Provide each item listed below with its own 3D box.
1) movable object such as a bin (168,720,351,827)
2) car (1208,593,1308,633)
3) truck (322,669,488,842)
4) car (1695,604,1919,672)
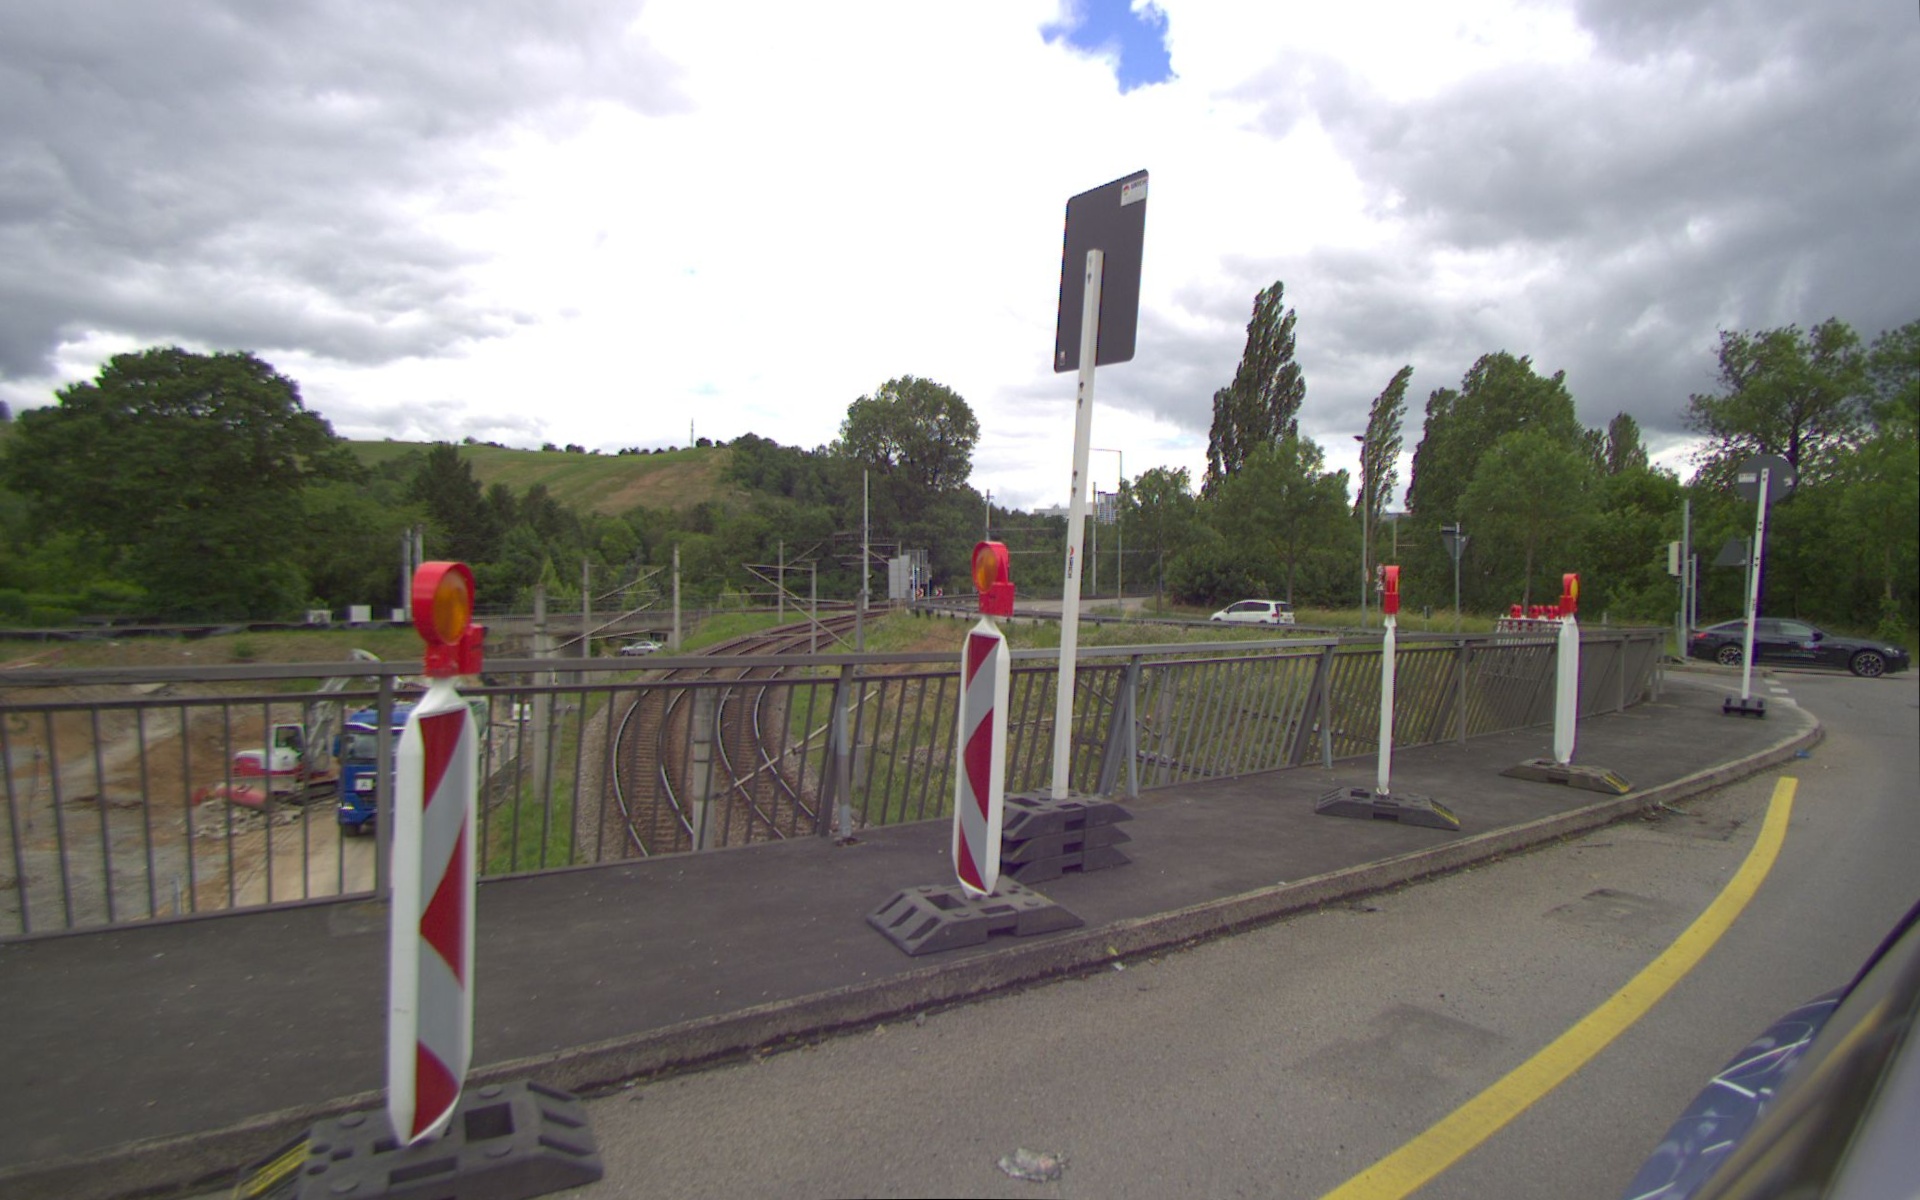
[{"bbox_3d":[-22.630,5.531,32.970,2.988,2.785,4.288,1,-1,-1],"label":"movable object such as a bin"},{"bbox_3d":[14.657,0.627,50.012,2.044,1.782,4.321,5,-2,-36],"label":"car"},{"bbox_3d":[-18.068,4.683,33.827,2.787,3.943,11.643,0,0,-18],"label":"truck"},{"bbox_3d":[22.989,0.988,27.395,4.938,1.495,1.853,3,0,38],"label":"car"}]
